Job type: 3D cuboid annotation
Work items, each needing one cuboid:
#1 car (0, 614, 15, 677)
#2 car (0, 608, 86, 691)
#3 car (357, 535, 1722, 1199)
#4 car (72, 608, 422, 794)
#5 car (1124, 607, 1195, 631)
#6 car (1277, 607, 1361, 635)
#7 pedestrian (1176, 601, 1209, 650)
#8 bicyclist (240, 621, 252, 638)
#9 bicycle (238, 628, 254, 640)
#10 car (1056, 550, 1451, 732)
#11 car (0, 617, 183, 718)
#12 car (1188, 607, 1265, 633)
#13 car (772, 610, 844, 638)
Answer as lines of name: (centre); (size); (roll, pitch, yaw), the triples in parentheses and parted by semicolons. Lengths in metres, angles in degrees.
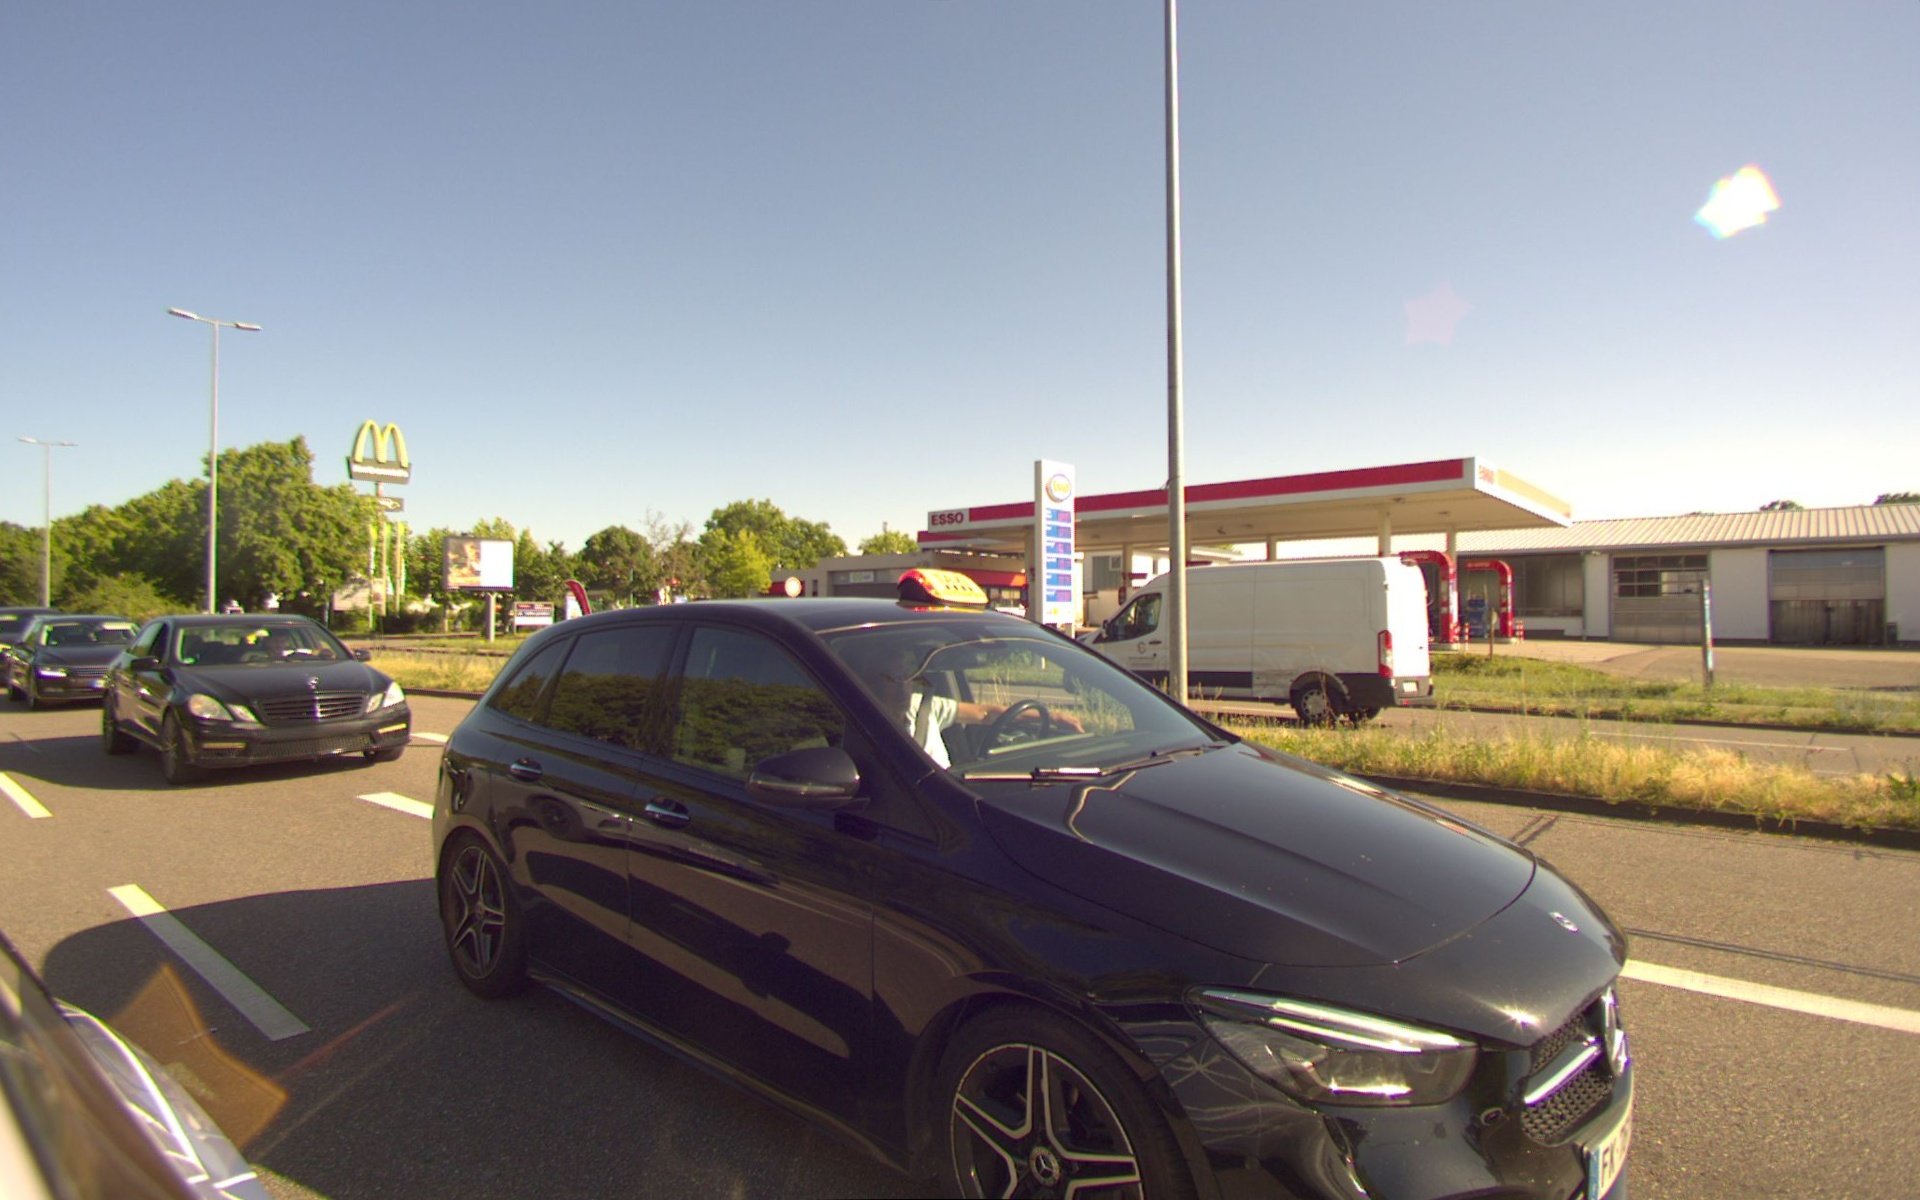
car: (-25.546, 1.162, 25.859); (3.774, 1.567, 1.615); (-1, 0, 40)
car: (-20.308, 1.011, 21.796); (3.876, 1.629, 1.653); (-1, 0, 40)
car: (-0.240, 0.666, 3.401); (4.400, 1.501, 1.741); (0, 0, 40)
car: (-7.319, 0.821, 10.212); (4.400, 1.449, 1.845); (0, 0, 40)
car: (12.144, 1.156, 61.669); (3.975, 1.420, 1.661); (0, -3, 40)
car: (19.541, 1.125, 55.124); (3.975, 1.420, 1.661); (0, -3, 40)
pedestrian: (8.654, 0.931, 37.690); (0.904, 1.763, 0.780); (0, 0, 43)
bicyclist: (-56.436, 2.317, 79.982); (0.700, 1.298, 0.621); (0, 0, 42)
bicycle: (-56.401, 2.677, 79.936); (1.741, 0.874, 0.621); (0, 0, 42)
car: (4.544, 0.635, 16.383); (5.817, 2.466, 2.001); (0, -4, 40)
car: (-14.685, 1.030, 16.966); (4.284, 1.438, 1.775); (-1, 0, 40)
car: (15.387, 1.144, 58.520); (3.975, 1.420, 1.661); (0, -3, 40)
car: (-8.300, 1.291, 55.213); (3.975, 1.420, 1.661); (0, -3, 40)
